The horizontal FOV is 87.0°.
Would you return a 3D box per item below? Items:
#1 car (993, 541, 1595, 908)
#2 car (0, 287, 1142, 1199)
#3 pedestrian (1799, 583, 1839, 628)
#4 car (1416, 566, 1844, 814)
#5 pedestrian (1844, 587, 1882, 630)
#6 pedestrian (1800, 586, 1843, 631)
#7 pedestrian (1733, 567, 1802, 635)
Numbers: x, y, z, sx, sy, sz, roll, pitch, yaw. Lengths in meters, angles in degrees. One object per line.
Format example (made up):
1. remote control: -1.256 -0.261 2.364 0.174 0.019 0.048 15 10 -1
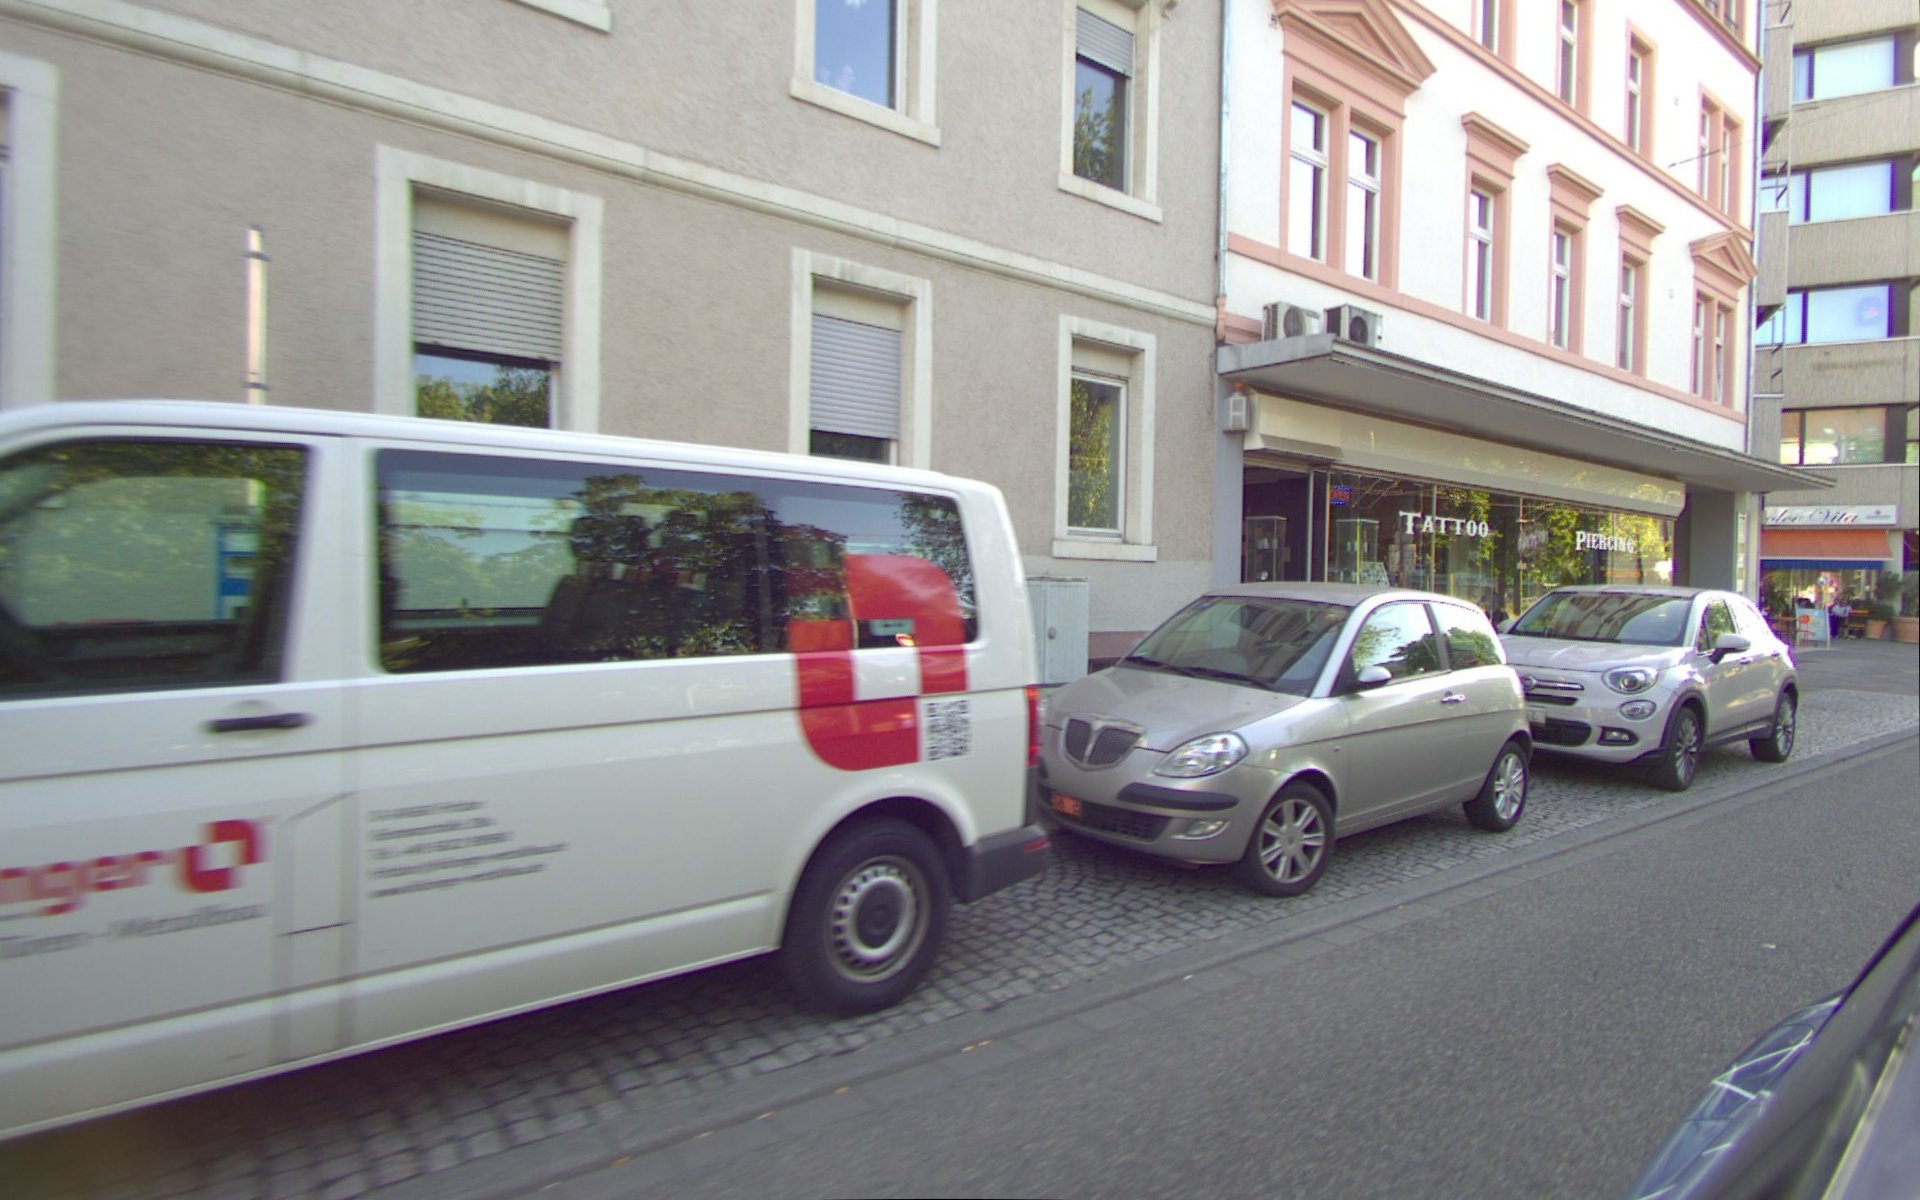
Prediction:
1. car: 2.176 0.501 6.249 3.686 1.624 1.705 -1 2 -36
2. car: -1.843 0.358 3.433 5.023 2.030 1.999 0 1 -38
3. pedestrian: 28.165 0.179 33.204 0.836 1.420 0.823 1 0 29
4. car: 6.351 0.596 9.357 4.868 1.760 1.750 -1 0 -37
5. pedestrian: 28.871 0.258 32.377 0.841 1.308 0.819 3 3 42
6. pedestrian: 27.479 0.275 32.300 0.835 1.420 0.747 -1 -1 24
7. pedestrian: 21.733 0.016 27.259 1.112 1.764 1.024 -1 0 -23
